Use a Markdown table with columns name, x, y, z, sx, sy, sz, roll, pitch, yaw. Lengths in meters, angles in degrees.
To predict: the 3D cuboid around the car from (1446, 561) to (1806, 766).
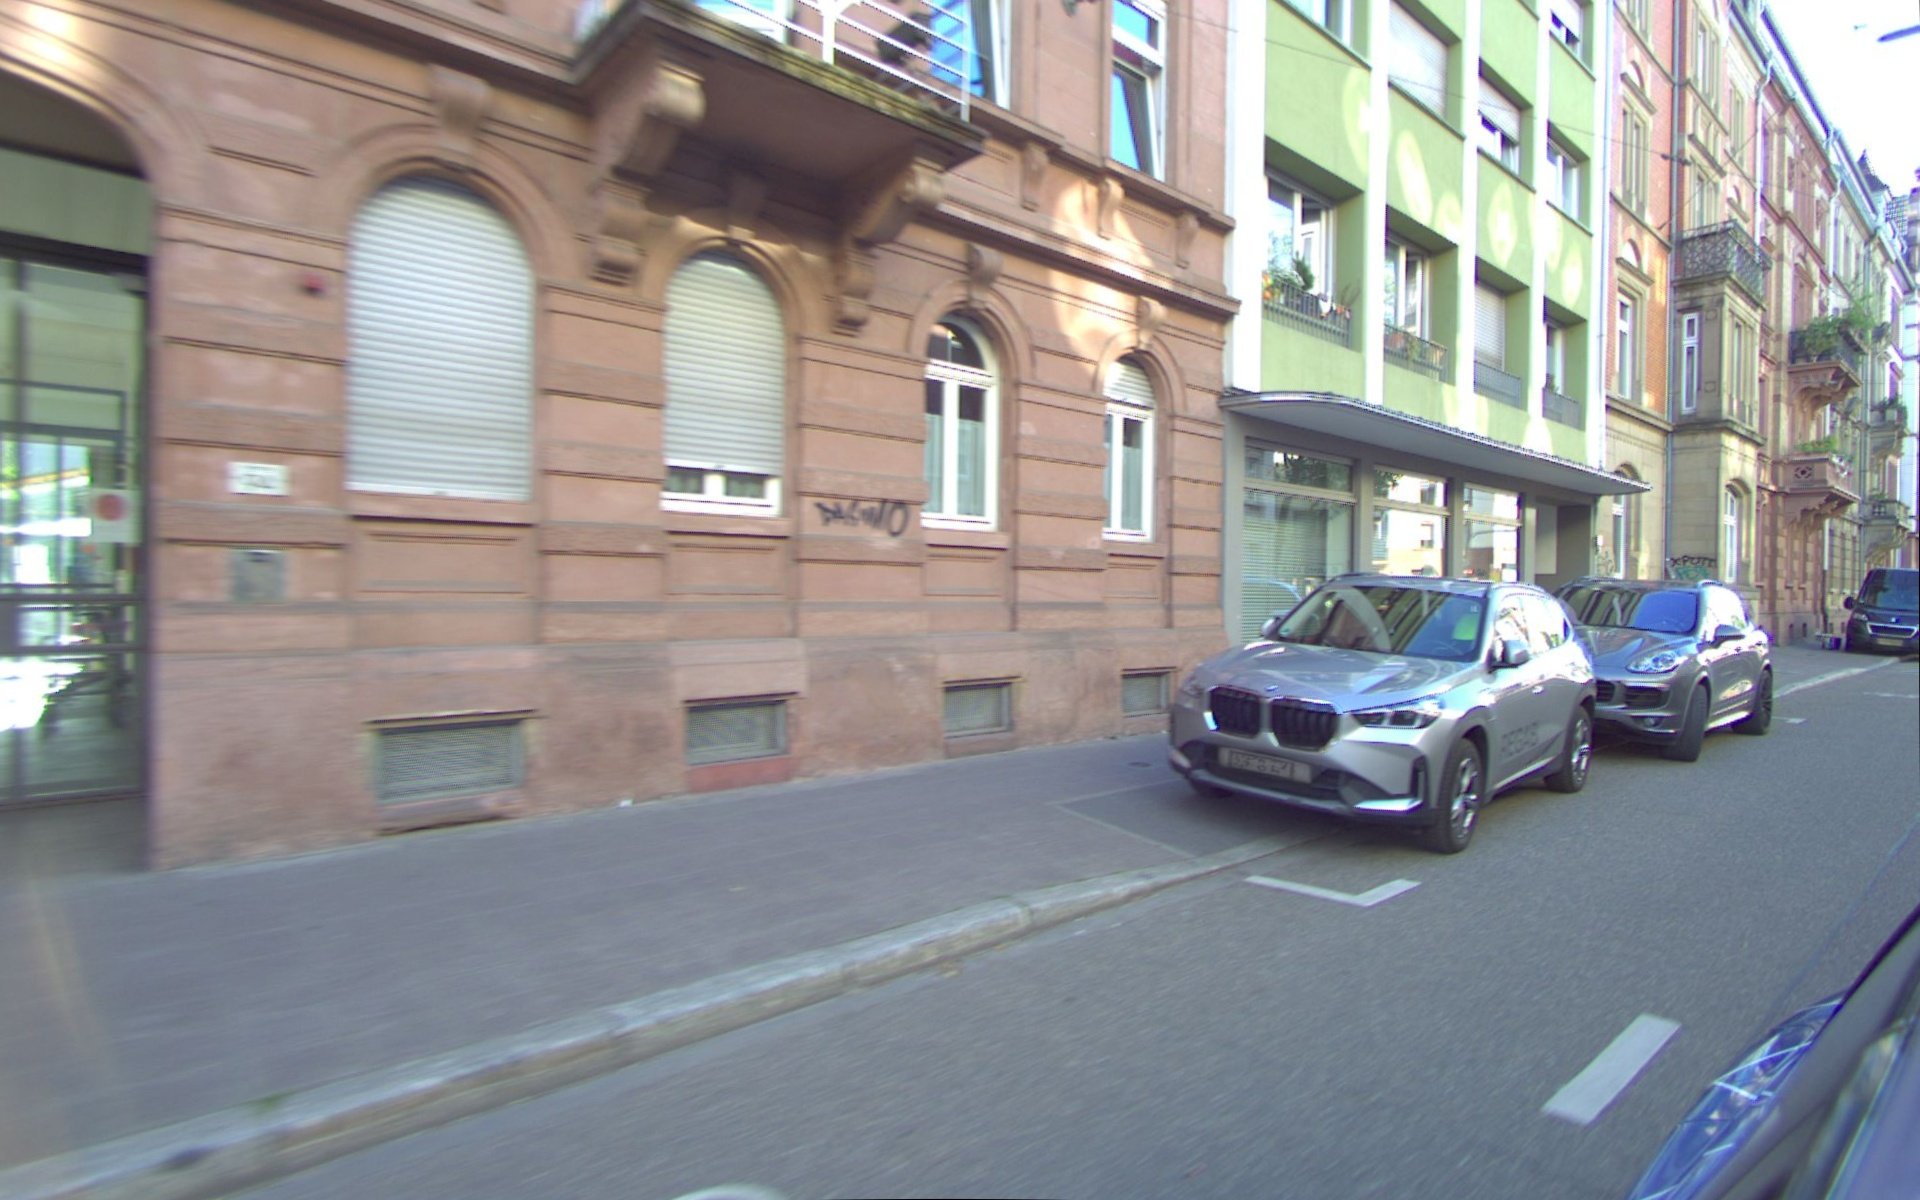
| name | x | y | z | sx | sy | sz | roll | pitch | yaw |
| --- | --- | --- | --- | --- | --- | --- | --- | --- | --- |
| car | 7.257 | 0.481 | 10.822 | 4.703 | 1.635 | 1.998 | -1 | 4 | -42 |

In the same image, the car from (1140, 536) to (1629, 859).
| name | x | y | z | sx | sy | sz | roll | pitch | yaw |
| --- | --- | --- | --- | --- | --- | --- | --- | --- | --- |
| car | 3.334 | 0.470 | 7.442 | 1.866 | 1.667 | 4.330 | 0 | 1 | 45 |

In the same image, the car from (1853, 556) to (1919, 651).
| name | x | y | z | sx | sy | sz | roll | pitch | yaw |
| --- | --- | --- | --- | --- | --- | --- | --- | --- | --- |
| car | 27.334 | 0.056 | 28.719 | 5.751 | 2.524 | 2.127 | -1 | 1 | -40 |
